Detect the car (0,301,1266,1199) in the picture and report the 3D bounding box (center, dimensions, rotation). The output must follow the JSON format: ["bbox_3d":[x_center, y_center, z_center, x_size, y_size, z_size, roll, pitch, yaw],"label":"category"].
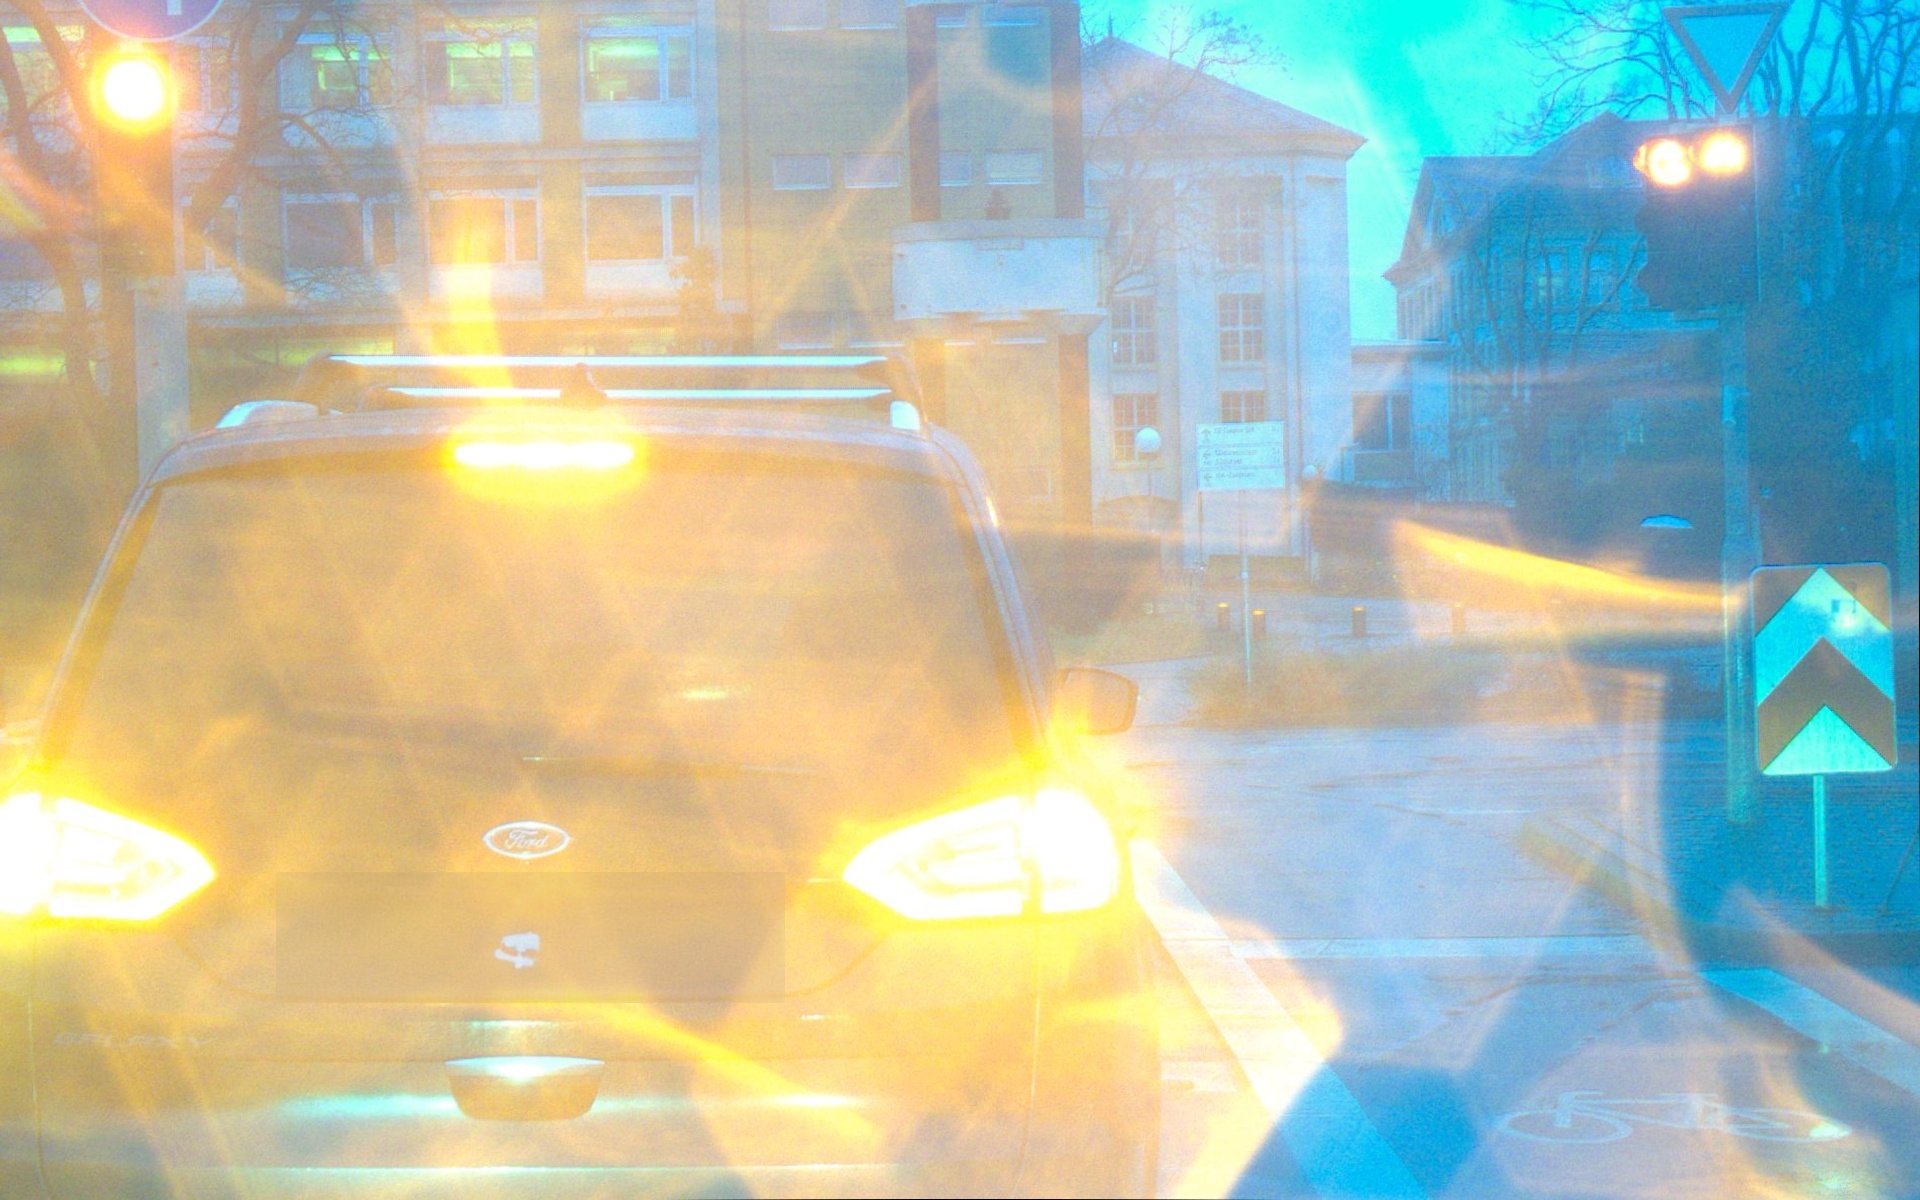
[{"bbox_3d":[-0.626,0.485,6.564,1.993,1.783,4.000,1,1,-1],"label":"car"}]

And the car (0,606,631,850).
[{"bbox_3d":[-4.623,0.898,24.550,4.126,1.577,1.840,-2,0,12],"label":"car"}]

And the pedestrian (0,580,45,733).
[{"bbox_3d":[-12.217,0.715,42.820,1.002,1.836,1.138,-2,3,23],"label":"pedestrian"}]

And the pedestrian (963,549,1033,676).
[{"bbox_3d":[0.496,0.158,44.793,0.760,1.622,0.557,-2,1,13],"label":"pedestrian"}]
